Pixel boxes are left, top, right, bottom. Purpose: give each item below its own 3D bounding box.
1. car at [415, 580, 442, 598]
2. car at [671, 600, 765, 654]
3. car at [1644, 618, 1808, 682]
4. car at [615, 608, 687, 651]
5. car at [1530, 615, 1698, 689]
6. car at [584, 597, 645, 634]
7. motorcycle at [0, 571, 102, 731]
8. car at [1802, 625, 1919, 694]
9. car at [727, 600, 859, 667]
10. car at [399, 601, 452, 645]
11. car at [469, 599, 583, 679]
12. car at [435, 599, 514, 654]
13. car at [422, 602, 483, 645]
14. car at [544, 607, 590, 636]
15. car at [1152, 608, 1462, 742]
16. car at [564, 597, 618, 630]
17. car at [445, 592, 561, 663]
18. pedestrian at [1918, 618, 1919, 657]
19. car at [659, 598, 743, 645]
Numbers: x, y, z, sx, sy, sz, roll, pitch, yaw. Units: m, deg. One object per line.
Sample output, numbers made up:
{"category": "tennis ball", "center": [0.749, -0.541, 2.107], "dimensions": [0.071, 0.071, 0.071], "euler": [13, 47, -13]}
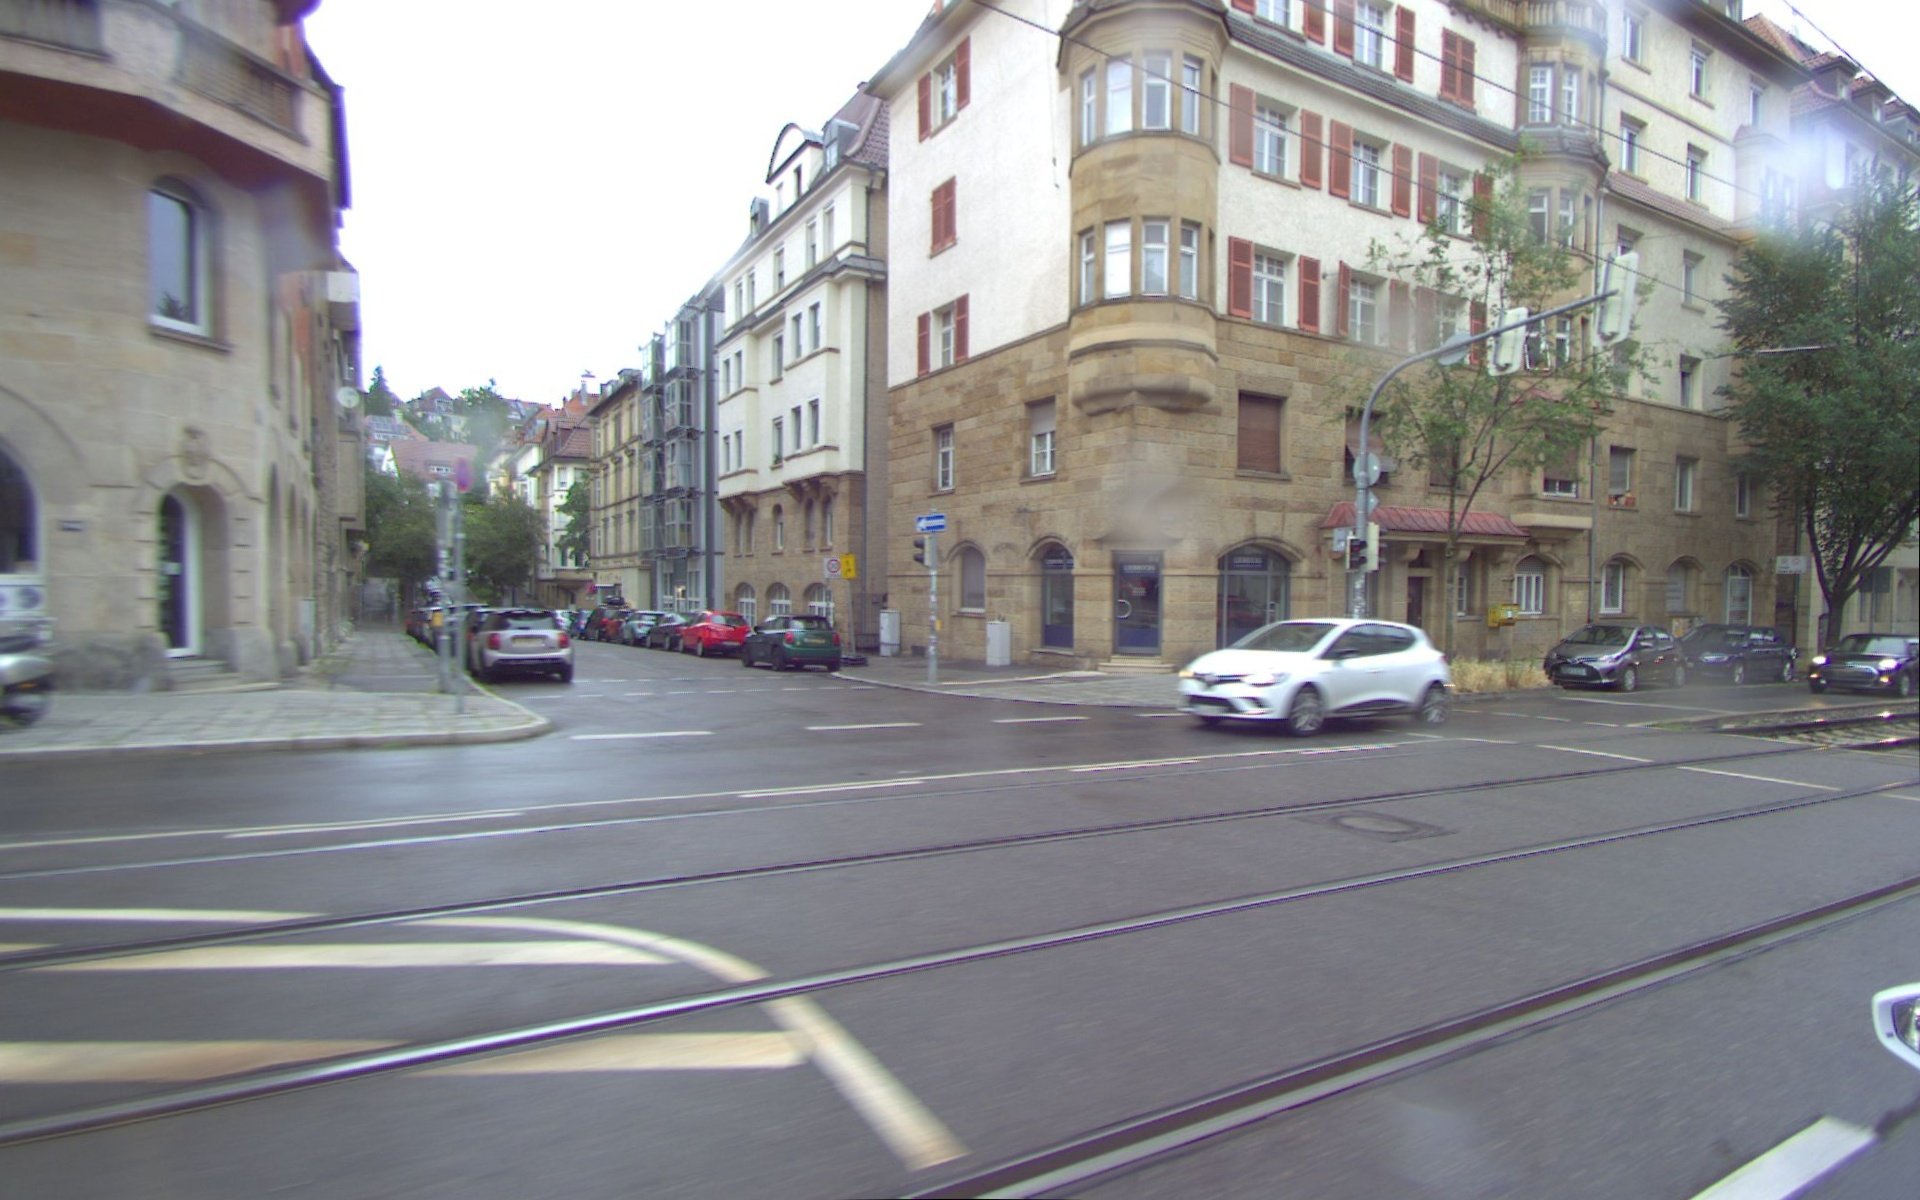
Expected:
{"category": "car", "center": [-51.180, -1.056, 96.693], "dimensions": [1.978, 1.595, 3.965], "euler": [2, -1, -32]}
{"category": "car", "center": [-7.978, 0.849, 32.872], "dimensions": [1.976, 1.595, 3.969], "euler": [2, -1, -29]}
{"category": "car", "center": [19.855, 1.290, 25.968], "dimensions": [4.924, 1.479, 1.771], "euler": [3, -1, -32]}
{"category": "car", "center": [-12.562, 1.175, 40.695], "dimensions": [1.976, 1.595, 3.969], "euler": [2, -1, -29]}
{"category": "car", "center": [15.128, 1.202, 23.175], "dimensions": [4.130, 1.549, 1.680], "euler": [3, -1, -32]}
{"category": "car", "center": [-16.294, 0.709, 47.277], "dimensions": [1.976, 1.595, 3.969], "euler": [2, -1, -29]}
{"category": "motorcycle", "center": [-8.713, 0.434, 8.813], "dimensions": [0.752, 1.393, 1.785], "euler": [2, -1, 2]}
{"category": "car", "center": [21.496, 1.361, 23.571], "dimensions": [3.693, 1.482, 1.644], "euler": [2, -1, -32]}
{"category": "car", "center": [-4.458, 0.837, 26.335], "dimensions": [1.979, 1.595, 3.963], "euler": [2, -1, -33]}
{"category": "car", "center": [-25.107, 1.035, 47.159], "dimensions": [2.047, 1.932, 3.969], "euler": [2, -1, -29]}
{"category": "car", "center": [-9.137, 0.758, 20.982], "dimensions": [1.726, 1.486, 3.968], "euler": [2, -1, -30]}
{"category": "car", "center": [-15.548, 0.817, 32.079], "dimensions": [1.976, 1.595, 3.969], "euler": [2, -1, -29]}
{"category": "car", "center": [-20.326, 0.903, 40.172], "dimensions": [1.976, 1.595, 3.969], "euler": [2, -1, -29]}
{"category": "car", "center": [-23.402, 1.271, 59.678], "dimensions": [1.976, 1.595, 3.969], "euler": [2, -1, -29]}
{"category": "car", "center": [4.664, 0.938, 13.369], "dimensions": [4.018, 1.522, 1.771], "euler": [3, -1, -32]}
{"category": "car", "center": [-18.999, 0.688, 51.654], "dimensions": [1.976, 1.595, 3.969], "euler": [2, -1, -29]}
{"category": "car", "center": [-11.379, 0.649, 24.880], "dimensions": [1.979, 1.595, 3.963], "euler": [2, -1, -34]}
{"category": "pedestrian", "center": [41.748, 1.634, 43.106], "dimensions": [0.762, 1.685, 0.724], "euler": [1, 1, -31]}
{"category": "car", "center": [-9.529, 0.768, 36.750], "dimensions": [1.976, 1.595, 3.969], "euler": [2, -1, -29]}
